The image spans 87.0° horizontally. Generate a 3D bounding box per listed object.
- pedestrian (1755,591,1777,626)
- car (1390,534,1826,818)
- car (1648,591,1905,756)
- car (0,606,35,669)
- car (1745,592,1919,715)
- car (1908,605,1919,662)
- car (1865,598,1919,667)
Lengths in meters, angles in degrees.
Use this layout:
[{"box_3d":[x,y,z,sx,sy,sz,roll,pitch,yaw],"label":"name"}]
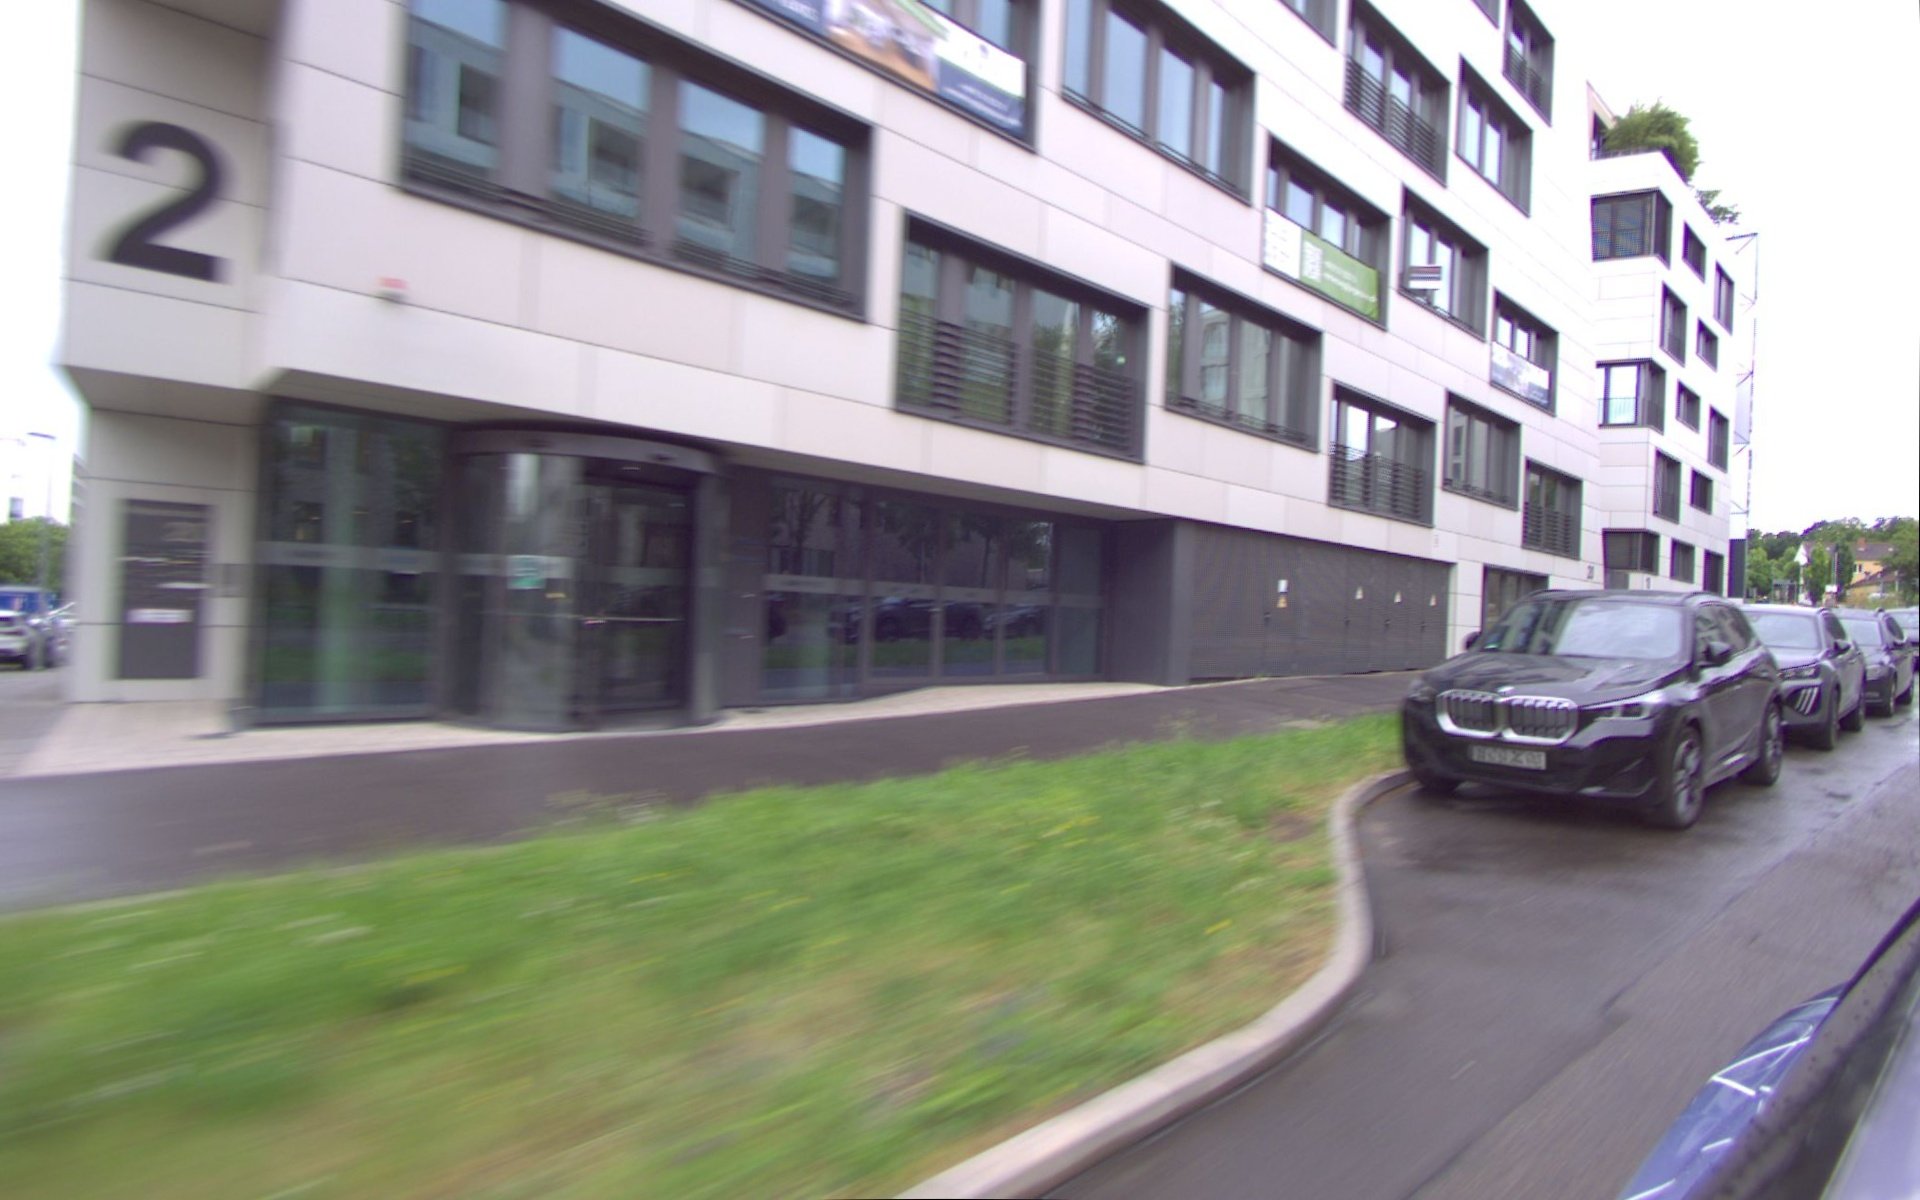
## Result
[{"box_3d":[43.823,0.455,55.035,0.822,1.818,1.189,2,2,43],"label":"pedestrian"},{"box_3d":[5.493,0.471,8.289,4.630,1.700,1.810,1,0,-41],"label":"car"},{"box_3d":[10.053,0.730,12.339,4.298,1.625,1.751,-1,1,-41],"label":"car"},{"box_3d":[-26.706,1.004,27.836,1.635,1.575,3.807,0,1,-39],"label":"car"},{"box_3d":[13.894,0.692,15.747,4.762,1.583,1.810,-1,1,-41],"label":"car"},{"box_3d":[27.325,0.921,27.746,3.595,1.497,1.549,1,0,-40],"label":"car"},{"box_3d":[23.355,0.735,24.392,4.417,1.503,1.810,-1,1,-41],"label":"car"}]
